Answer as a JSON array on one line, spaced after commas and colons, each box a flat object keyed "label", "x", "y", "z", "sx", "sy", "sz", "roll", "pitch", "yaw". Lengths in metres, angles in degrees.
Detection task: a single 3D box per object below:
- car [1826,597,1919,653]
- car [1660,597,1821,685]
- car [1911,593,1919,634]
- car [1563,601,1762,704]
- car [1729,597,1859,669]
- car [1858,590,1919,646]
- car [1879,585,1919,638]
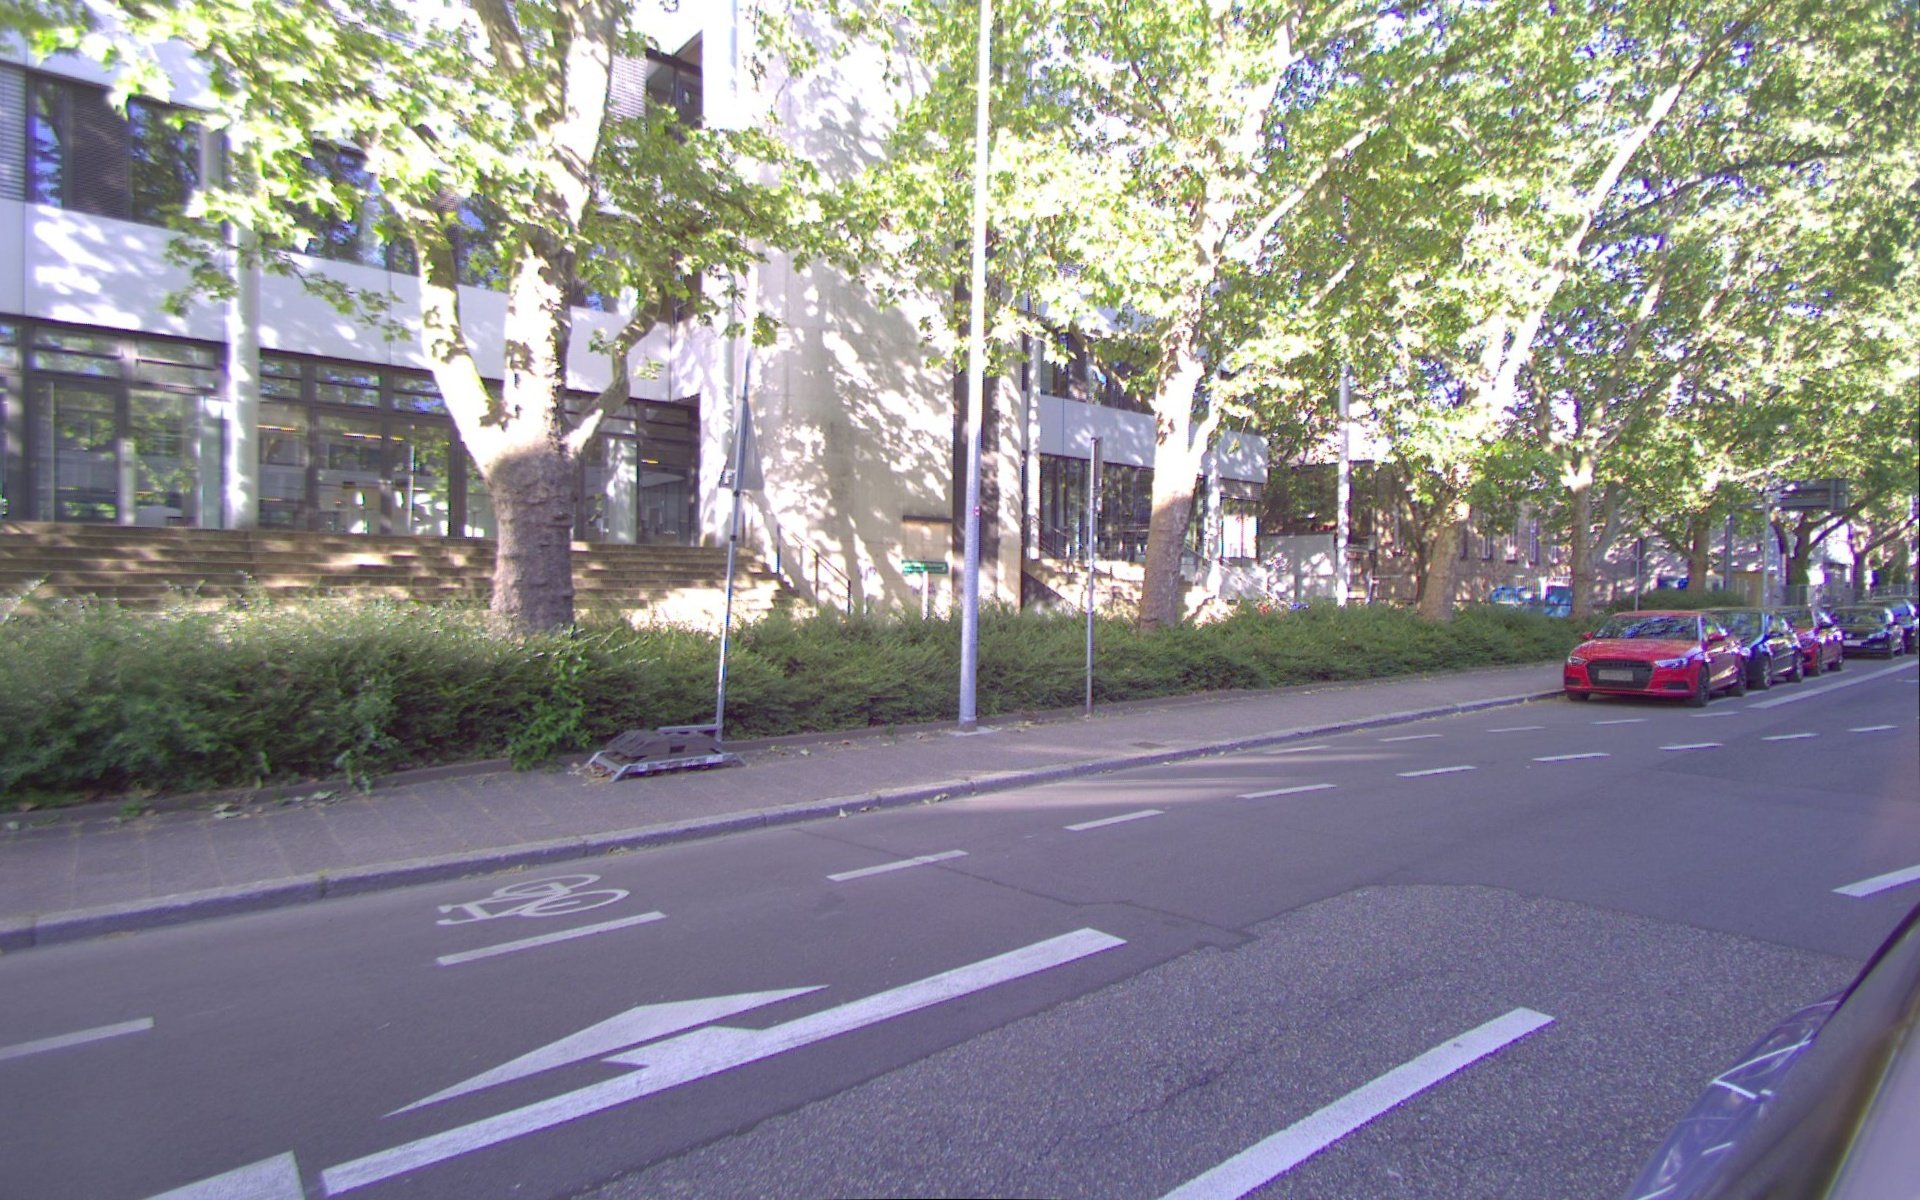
[{"label": "car", "x": 26.021, "y": 0.652, "z": 28.696, "sx": 3.930, "sy": 1.469, "sz": 1.684, "roll": 0, "pitch": 1, "yaw": -41}, {"label": "car", "x": 14.816, "y": 0.701, "z": 19.143, "sx": 3.930, "sy": 1.485, "sz": 1.684, "roll": 0, "pitch": 0, "yaw": -41}, {"label": "car", "x": 38.715, "y": 0.507, "z": 39.720, "sx": 3.801, "sy": 1.581, "sz": 1.684, "roll": 0, "pitch": 1, "yaw": -41}, {"label": "car", "x": 11.251, "y": 0.752, "z": 16.116, "sx": 3.962, "sy": 1.439, "sz": 1.722, "roll": 0, "pitch": -2, "yaw": -42}, {"label": "car", "x": 18.617, "y": 0.672, "z": 22.536, "sx": 3.715, "sy": 1.452, "sz": 1.664, "roll": 0, "pitch": 1, "yaw": -41}, {"label": "car", "x": 29.522, "y": 0.520, "z": 31.649, "sx": 3.770, "sy": 1.640, "sz": 1.684, "roll": 0, "pitch": 1, "yaw": -41}, {"label": "car", "x": 33.977, "y": 0.387, "z": 35.704, "sx": 4.354, "sy": 1.790, "sz": 1.818, "roll": 0, "pitch": 1, "yaw": -41}]
